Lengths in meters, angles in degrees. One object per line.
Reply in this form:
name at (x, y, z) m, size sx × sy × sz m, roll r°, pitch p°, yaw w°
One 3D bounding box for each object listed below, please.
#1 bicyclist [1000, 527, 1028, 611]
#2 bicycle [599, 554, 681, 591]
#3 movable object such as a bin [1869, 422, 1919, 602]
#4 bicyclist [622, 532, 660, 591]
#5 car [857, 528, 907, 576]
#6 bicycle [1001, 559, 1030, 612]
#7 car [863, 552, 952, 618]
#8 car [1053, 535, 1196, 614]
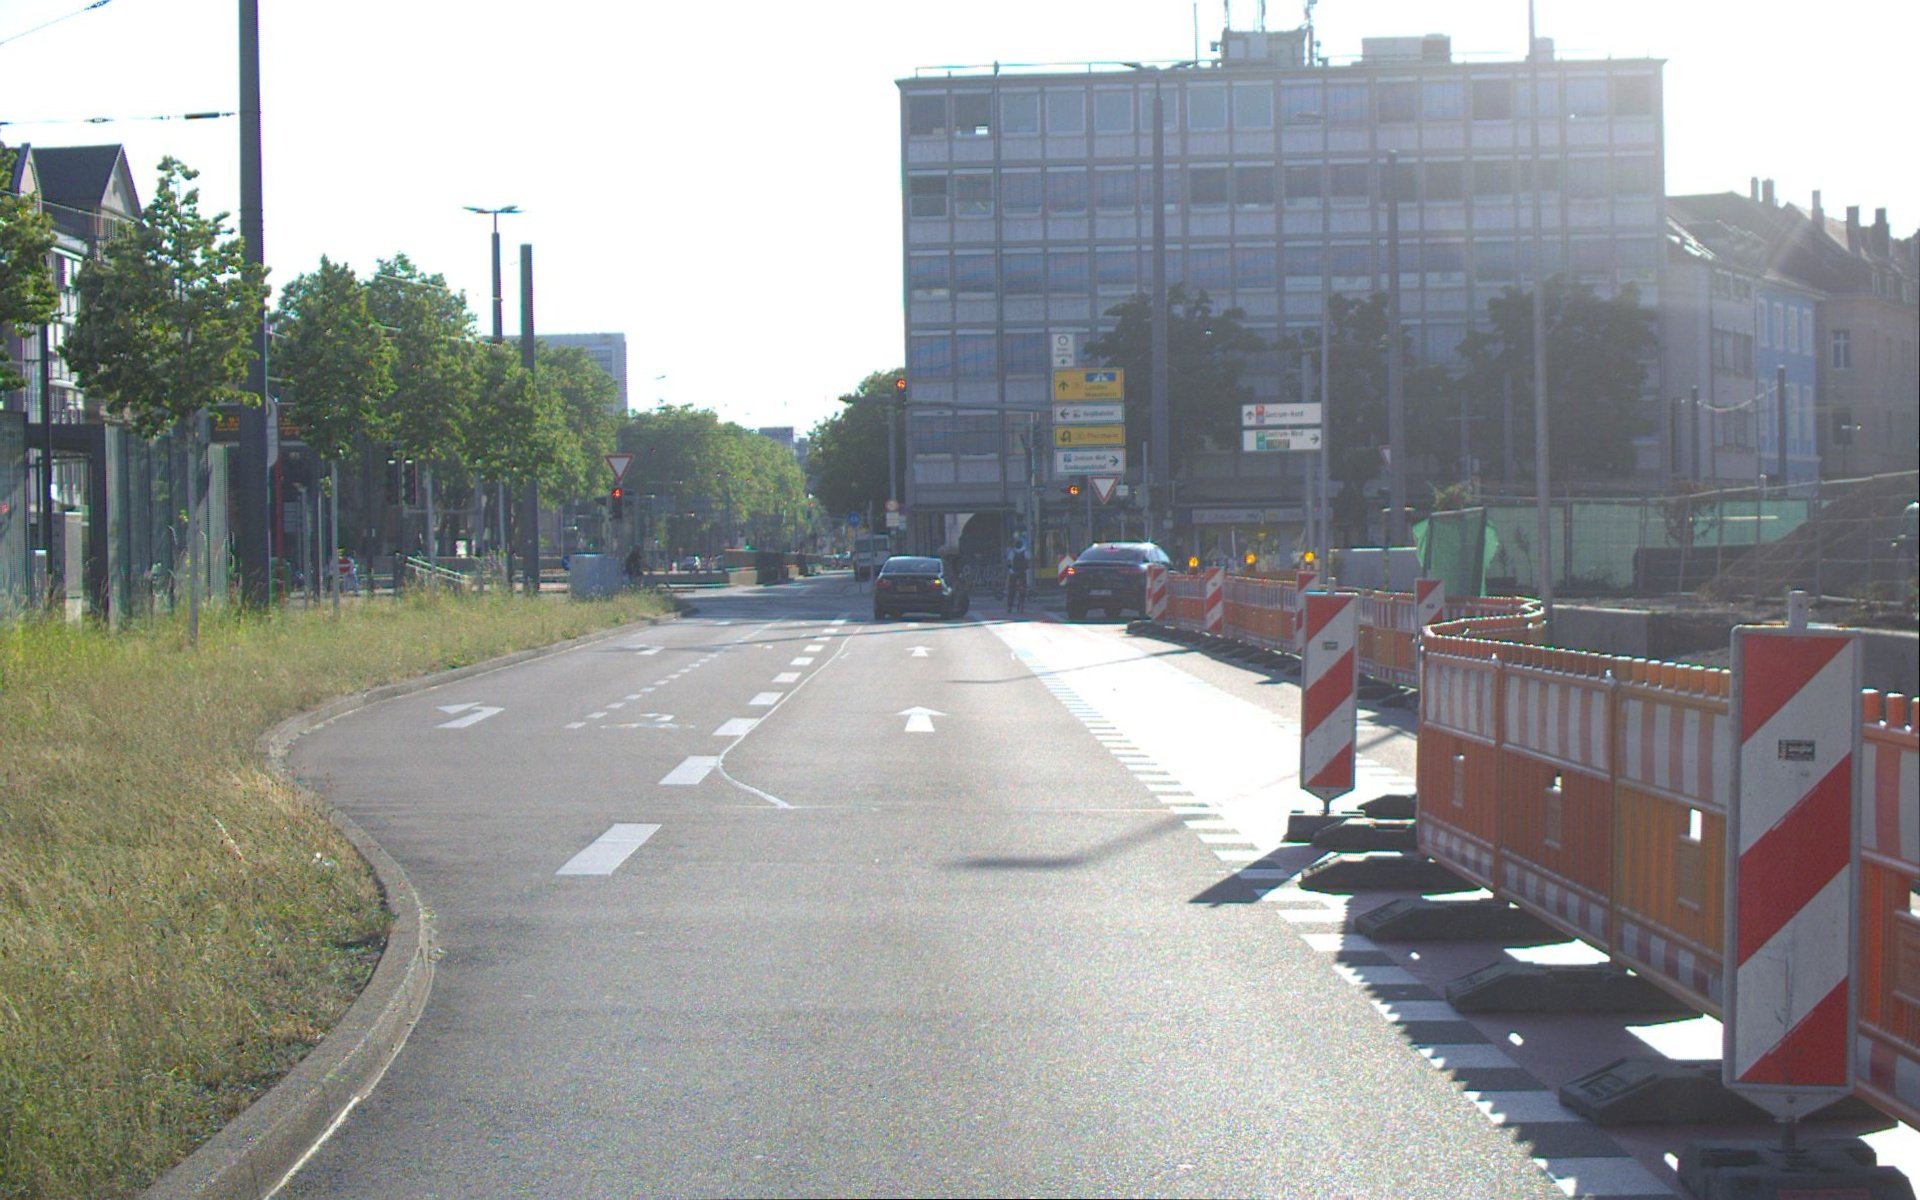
bicyclist at (1.322, -0.767, 84.119) m, size 0.643 × 2.006 × 1.067 m, roll 1°, pitch 2°, yaw 0°
bicycle at (-9.017, -0.769, 96.972) m, size 2.226 × 1.023 × 0.682 m, roll 0°, pitch 1°, yaw 2°
movable object such as a bin at (15.468, -1.333, 51.440) m, size 2.275 × 2.694 × 4.943 m, roll -1°, pitch 1°, yaw -1°
bicyclist at (-8.993, -1.078, 96.972) m, size 0.959 × 1.656 × 0.691 m, roll 0°, pitch 1°, yaw 2°
car at (-4.126, -2.503, 181.496) m, size 2.486 × 2.384 × 5.935 m, roll -3°, pitch 0°, yaw -2°
bicycle at (1.361, -0.360, 84.148) m, size 0.644 × 1.219 × 2.048 m, roll 1°, pitch 2°, yaw 0°
car at (-1.161, -0.358, 77.429) m, size 1.744 × 1.421 × 4.000 m, roll 0°, pitch 1°, yaw 3°
car at (3.803, -0.611, 78.793) m, size 1.996 × 1.687 × 3.995 m, roll 1°, pitch 2°, yaw 23°
